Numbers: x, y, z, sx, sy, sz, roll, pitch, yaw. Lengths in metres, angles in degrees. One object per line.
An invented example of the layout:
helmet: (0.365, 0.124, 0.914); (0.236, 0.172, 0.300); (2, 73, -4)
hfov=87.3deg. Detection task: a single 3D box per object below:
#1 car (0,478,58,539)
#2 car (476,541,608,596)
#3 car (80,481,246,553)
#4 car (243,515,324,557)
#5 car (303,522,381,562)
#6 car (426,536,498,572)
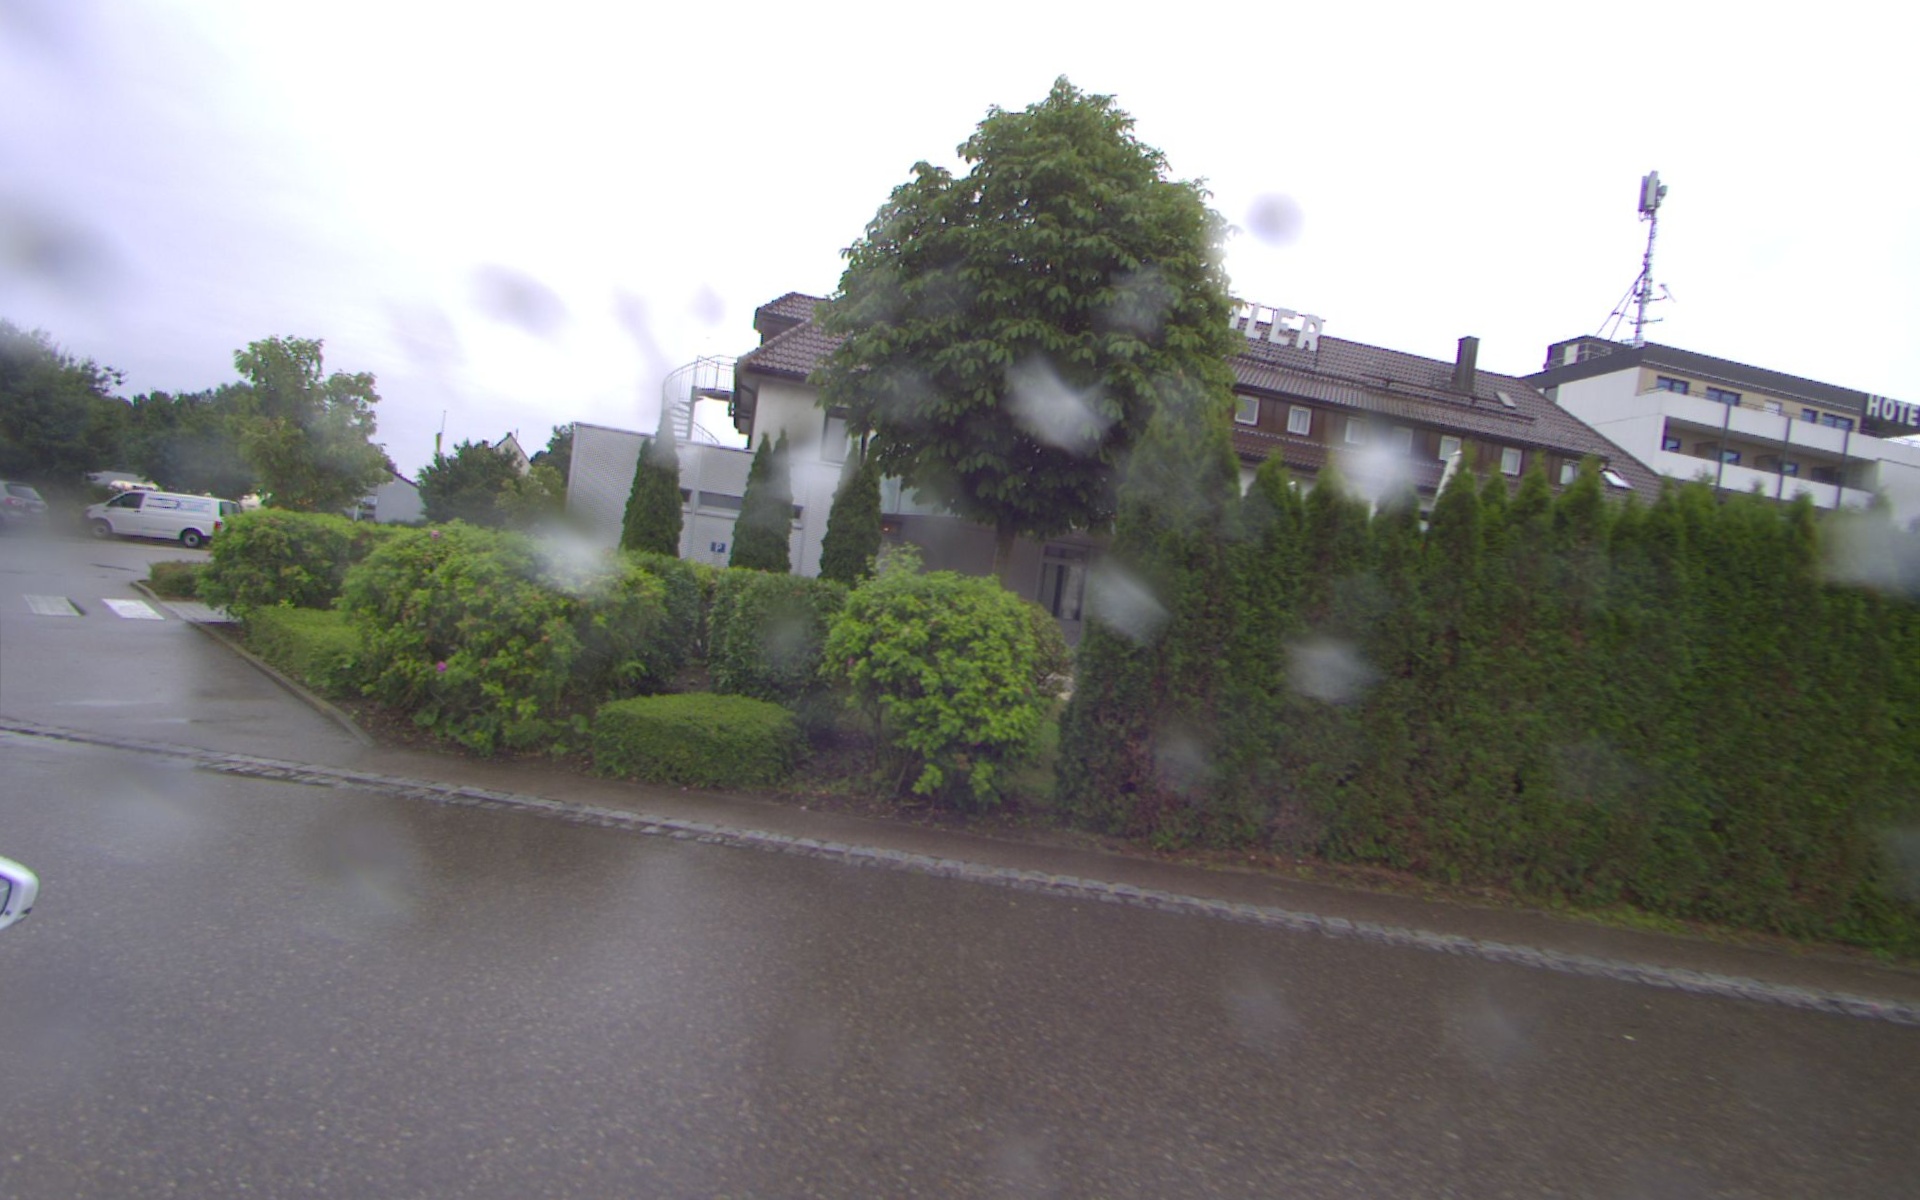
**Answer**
car: (-27.729, -2.722, 27.891); (3.684, 1.571, 1.446); (6, 1, -14)
car: (-15.163, -1.139, 36.695); (4.122, 1.517, 1.712); (6, 1, -14)
car: (-29.686, -3.057, 37.607); (4.462, 2.059, 1.640); (6, 1, -14)
car: (-30.433, -2.878, 45.222); (3.618, 1.477, 1.552); (7, 1, 31)
car: (-29.489, -2.770, 48.000); (3.618, 1.477, 1.582); (7, 1, 31)
car: (-25.809, -2.395, 52.119); (3.618, 1.477, 1.582); (7, 1, 31)
